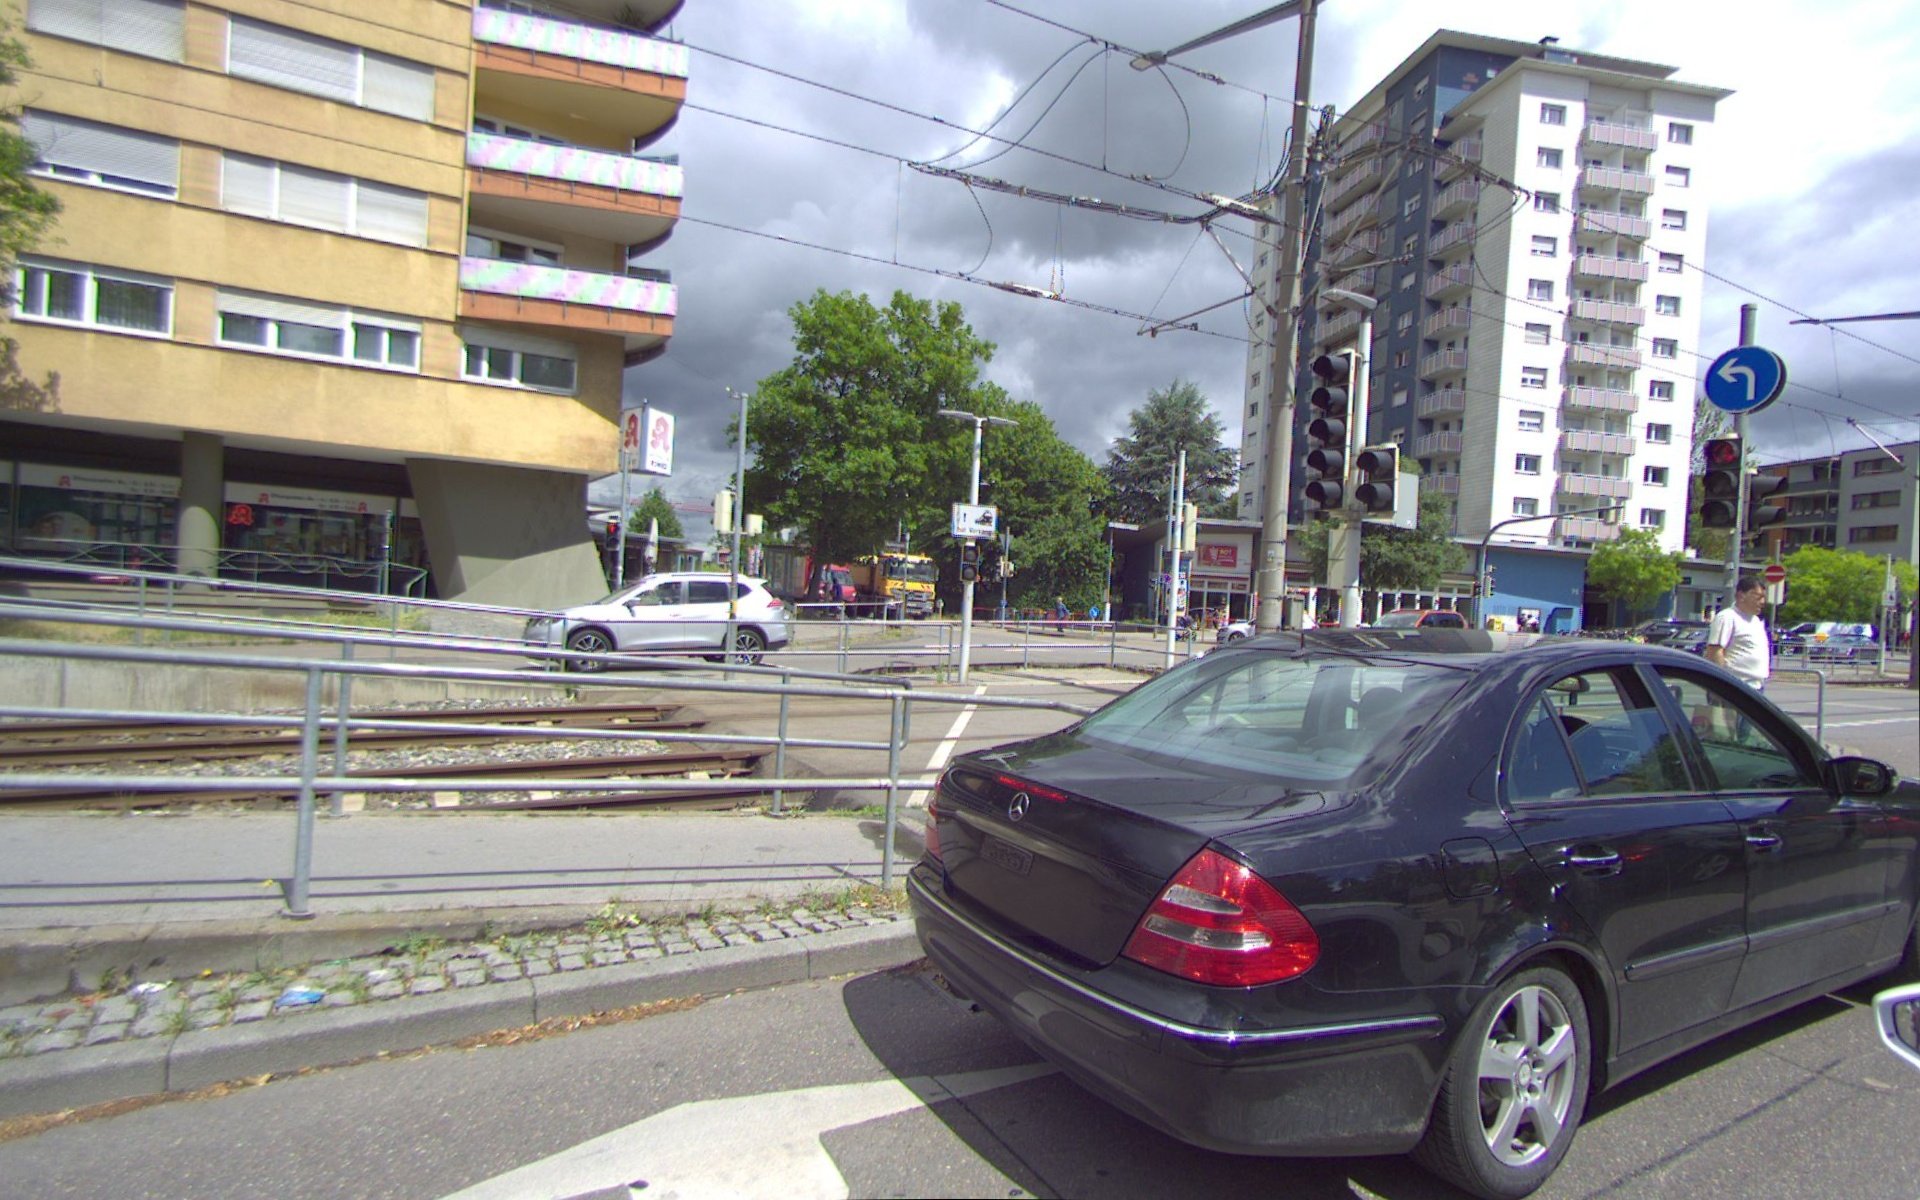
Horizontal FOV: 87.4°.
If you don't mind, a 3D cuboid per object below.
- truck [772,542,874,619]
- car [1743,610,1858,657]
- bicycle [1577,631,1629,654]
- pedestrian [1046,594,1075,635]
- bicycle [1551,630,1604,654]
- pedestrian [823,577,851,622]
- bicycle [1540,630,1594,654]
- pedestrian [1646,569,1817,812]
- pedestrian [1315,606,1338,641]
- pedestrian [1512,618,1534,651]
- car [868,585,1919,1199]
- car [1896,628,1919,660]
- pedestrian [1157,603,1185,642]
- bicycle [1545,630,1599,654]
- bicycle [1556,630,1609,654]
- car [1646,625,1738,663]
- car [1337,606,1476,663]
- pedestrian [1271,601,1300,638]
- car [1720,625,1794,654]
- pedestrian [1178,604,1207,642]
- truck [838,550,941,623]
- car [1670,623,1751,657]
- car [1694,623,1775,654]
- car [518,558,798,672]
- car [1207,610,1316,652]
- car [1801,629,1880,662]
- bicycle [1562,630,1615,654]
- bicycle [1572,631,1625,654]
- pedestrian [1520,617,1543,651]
[{"bbox_3d":[-6.840,-0.908,48.788,2.692,3.320,8.877,1,0,-22],"label":"truck"},{"bbox_3d":[49.795,1.892,59.762,2.776,2.512,6.724,2,0,17],"label":"car"},{"bbox_3d":[28.768,1.895,44.974,0.490,0.947,1.934,2,0,-35],"label":"bicycle"},{"bbox_3d":[4.362,0.634,43.792,0.773,1.636,0.758,6,2,-35],"label":"pedestrian"},{"bbox_3d":[27.006,1.835,43.966,0.490,0.947,1.934,2,0,-35],"label":"bicycle"},{"bbox_3d":[-4.634,-0.032,37.837,0.770,1.638,0.759,-1,5,-29],"label":"pedestrian"},{"bbox_3d":[26.199,1.807,43.396,0.490,0.947,1.934,2,0,-35],"label":"bicycle"},{"bbox_3d":[6.237,0.680,8.139,0.734,1.832,0.863,1,1,-33],"label":"pedestrian"},{"bbox_3d":[17.433,1.127,47.788,0.693,1.637,0.760,1,1,-43],"label":"pedestrian"},{"bbox_3d":[28.702,1.754,51.238,0.930,1.681,1.097,1,-1,29],"label":"pedestrian"},{"bbox_3d":[2.062,0.758,3.821,4.490,1.481,1.720,2,0,-30],"label":"car"},{"bbox_3d":[54.137,2.459,55.897,3.827,1.715,1.928,2,0,-30],"label":"car"},{"bbox_3d":[9.454,1.007,45.069,0.977,1.681,0.969,2,-1,-4],"label":"pedestrian"},{"bbox_3d":[26.595,1.821,43.678,0.490,0.947,1.934,2,0,-35],"label":"bicycle"},{"bbox_3d":[27.394,1.848,44.252,0.490,0.947,1.934,2,0,-35],"label":"bicycle"},{"bbox_3d":[30.391,1.780,41.678,4.205,1.433,1.621,1,0,-32],"label":"car"},{"bbox_3d":[13.965,1.062,31.328,4.415,1.656,1.981,1,-1,-35],"label":"car"},{"bbox_3d":[17.579,1.049,54.307,1.200,1.942,0.860,1,1,-30],"label":"pedestrian"},{"bbox_3d":[45.267,2.232,57.148,1.754,1.439,4.219,2,0,16],"label":"car"},{"bbox_3d":[10.480,1.040,45.249,0.977,1.681,0.969,2,-1,-4],"label":"pedestrian"},{"bbox_3d":[-3.599,-0.624,49.205,2.733,3.244,7.443,1,0,-23],"label":"truck"},{"bbox_3d":[40.051,2.106,53.723,1.921,1.591,4.220,2,0,13],"label":"car"},{"bbox_3d":[42.808,2.097,55.632,1.921,1.558,4.220,2,0,13],"label":"car"},{"bbox_3d":[-5.374,0.299,18.006,4.458,1.825,1.984,1,-1,-31],"label":"car"},{"bbox_3d":[11.688,1.189,38.952,3.920,1.416,1.699,2,0,18],"label":"car"},{"bbox_3d":[42.325,2.197,48.257,4.445,1.418,1.625,2,0,-33],"label":"car"},{"bbox_3d":[27.857,1.864,44.529,0.490,0.947,1.934,2,0,-35],"label":"bicycle"},{"bbox_3d":[28.379,1.881,44.700,0.490,0.947,1.934,2,0,-35],"label":"bicycle"},{"bbox_3d":[28.456,1.692,50.000,0.930,1.681,1.097,1,-1,29],"label":"pedestrian"}]
